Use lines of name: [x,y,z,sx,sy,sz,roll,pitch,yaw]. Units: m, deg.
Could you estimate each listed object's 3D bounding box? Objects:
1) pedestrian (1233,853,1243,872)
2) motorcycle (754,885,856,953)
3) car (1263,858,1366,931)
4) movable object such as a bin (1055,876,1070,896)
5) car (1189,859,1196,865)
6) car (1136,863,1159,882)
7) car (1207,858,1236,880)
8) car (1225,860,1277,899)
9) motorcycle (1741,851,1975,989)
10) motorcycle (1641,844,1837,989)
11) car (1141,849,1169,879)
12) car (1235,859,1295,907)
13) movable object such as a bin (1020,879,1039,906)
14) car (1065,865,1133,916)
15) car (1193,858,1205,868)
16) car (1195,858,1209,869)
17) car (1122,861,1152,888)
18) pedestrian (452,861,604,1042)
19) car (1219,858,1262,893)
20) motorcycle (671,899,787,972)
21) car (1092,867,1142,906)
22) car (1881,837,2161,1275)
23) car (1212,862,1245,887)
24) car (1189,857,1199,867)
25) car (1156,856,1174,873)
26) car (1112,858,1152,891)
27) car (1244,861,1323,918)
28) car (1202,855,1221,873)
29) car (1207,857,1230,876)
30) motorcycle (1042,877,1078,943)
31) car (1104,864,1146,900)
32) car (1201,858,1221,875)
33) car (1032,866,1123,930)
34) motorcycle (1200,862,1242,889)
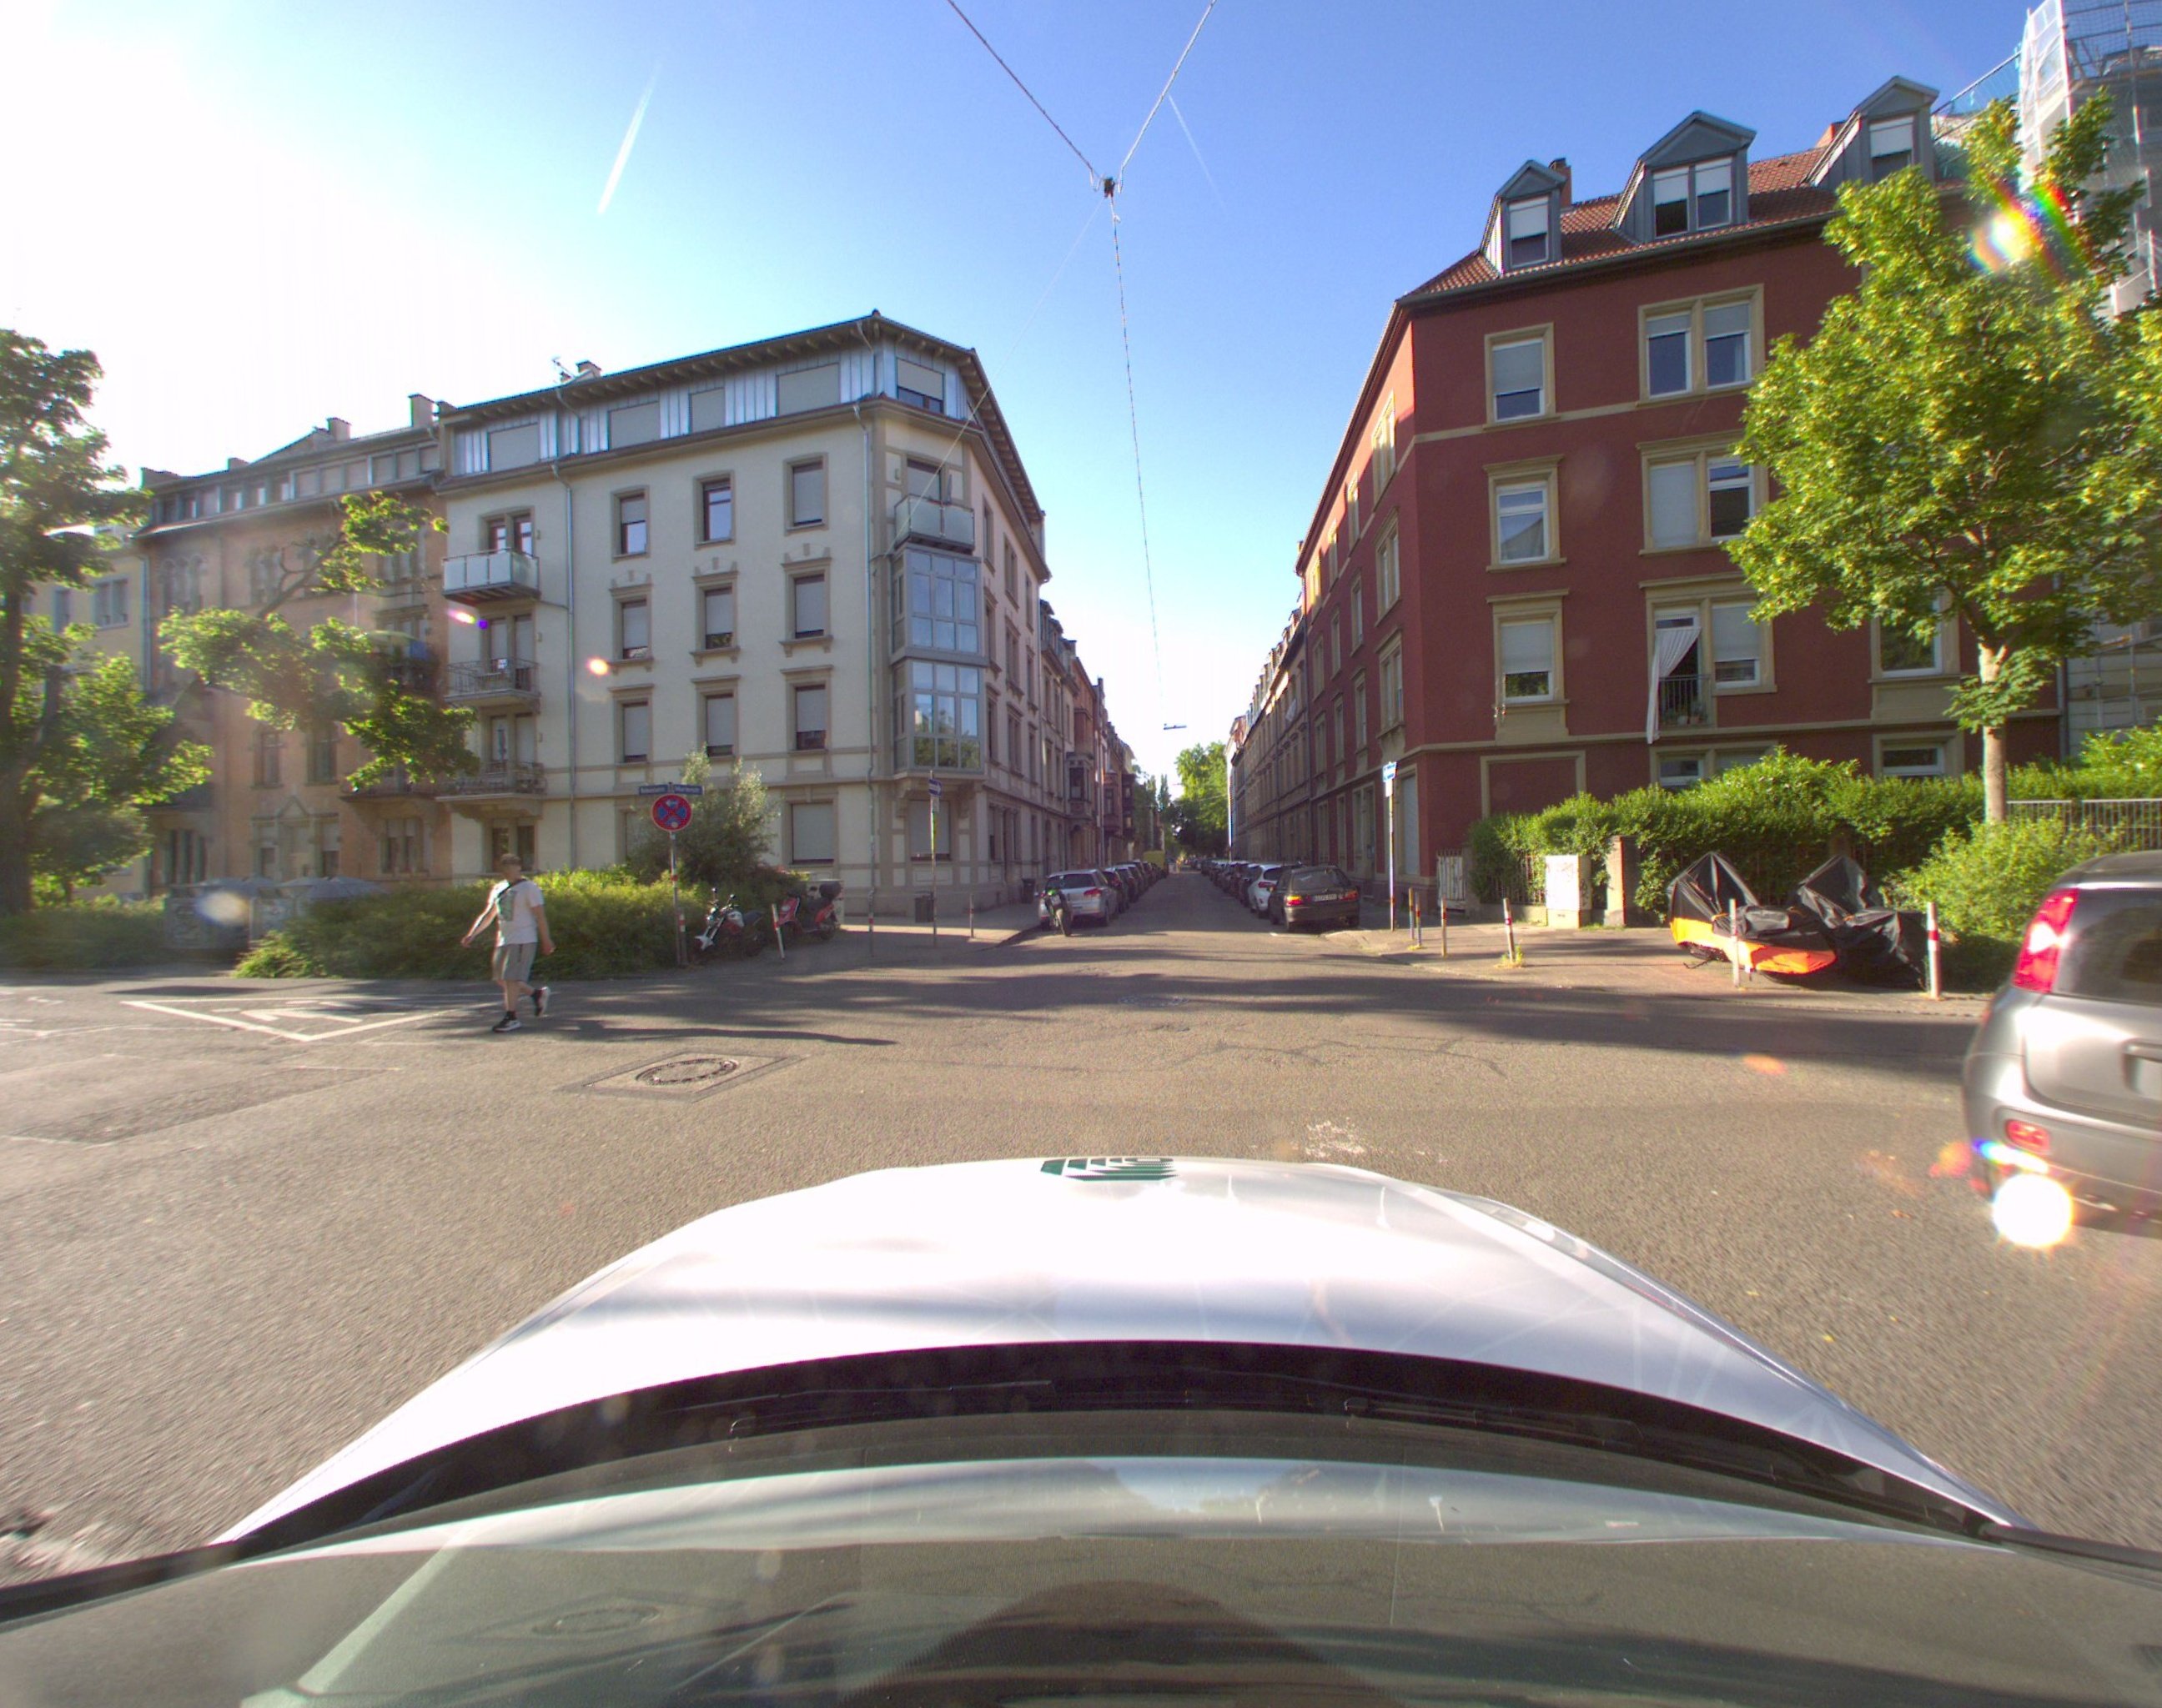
pedestrian: [13.821,0.765,71.637,0.651,1.630,0.881,-3,-2,2]
motorcycle: [-5.385,1.239,16.020,0.605,1.197,2.056,-2,-2,26]
car: [5.279,0.860,18.839,1.660,1.483,3.712,-1,0,6]
movable object such as a bin: [-0.895,1.559,39.470,0.609,0.920,0.735,-1,-1,7]
car: [31.490,2.252,230.032,1.983,1.728,4.008,-2,0,7]
car: [5.212,1.422,63.354,1.609,1.326,3.619,-4,-1,6]
car: [10.440,1.088,60.628,1.745,1.446,4.075,-5,-1,5]
car: [7.051,1.032,34.075,1.651,1.479,4.030,-2,0,5]
motorcycle: [9.004,0.687,9.639,0.862,1.404,2.553,-2,-1,15]
motorcycle: [7.920,0.666,10.010,0.865,1.525,2.634,-2,0,15]
car: [6.828,0.867,74.670,2.164,2.508,5.889,-4,-1,7]
car: [6.382,0.953,28.618,1.667,1.503,4.078,-1,0,8]
movable object such as a bin: [-1.895,1.421,30.137,0.618,0.956,0.512,0,-1,7]
car: [0.667,1.137,26.693,1.771,1.483,3.751,-1,0,8]
car: [20.663,1.584,142.479,1.884,1.625,4.007,-1,-1,6]
car: [17.989,1.395,121.322,1.716,1.522,4.005,-2,0,4]
car: [3.694,1.307,52.779,1.772,1.606,4.076,-1,0,6]
pedestrian: [-5.726,0.962,8.485,0.797,1.746,1.010,-2,-1,13]
car: [7.606,0.992,39.152,1.752,1.484,4.411,-2,0,8]
motorcycle: [-5.911,1.340,13.808,0.633,1.090,1.880,-2,-2,22]
car: [1.504,1.250,32.795,1.772,1.403,3.748,-1,0,6]
car: [5.282,0.660,3.511,3.541,1.483,1.624,-1,-1,-28]
car: [8.926,1.201,49.647,1.767,1.397,4.326,-1,0,8]
car: [26.715,1.982,192.605,2.150,2.255,4.533,-2,-1,6]
car: [9.138,1.127,89.185,1.810,1.766,4.340,-1,-1,4]
car: [2.719,1.047,43.038,1.751,1.617,4.198,-2,0,8]
car: [5.705,0.954,23.349,1.696,1.462,3.978,-1,0,7]
car: [13.964,1.015,87.393,1.744,1.786,4.733,-4,-1,7]
car: [12.816,1.126,76.100,1.745,1.518,4.451,-6,-1,6]
motorcycle: [-0.456,1.234,18.588,0.674,1.334,2.000,-4,-1,1]
car: [2.101,1.270,37.878,1.634,1.455,3.846,-4,-1,6]
car: [13.094,1.204,82.007,1.744,1.453,4.298,-6,-1,9]
car: [0.014,1.113,21.864,1.770,1.483,3.942,-1,0,9]
motorcycle: [8.013,1.235,46.571,2.226,1.536,0.884,1,0,-19]
